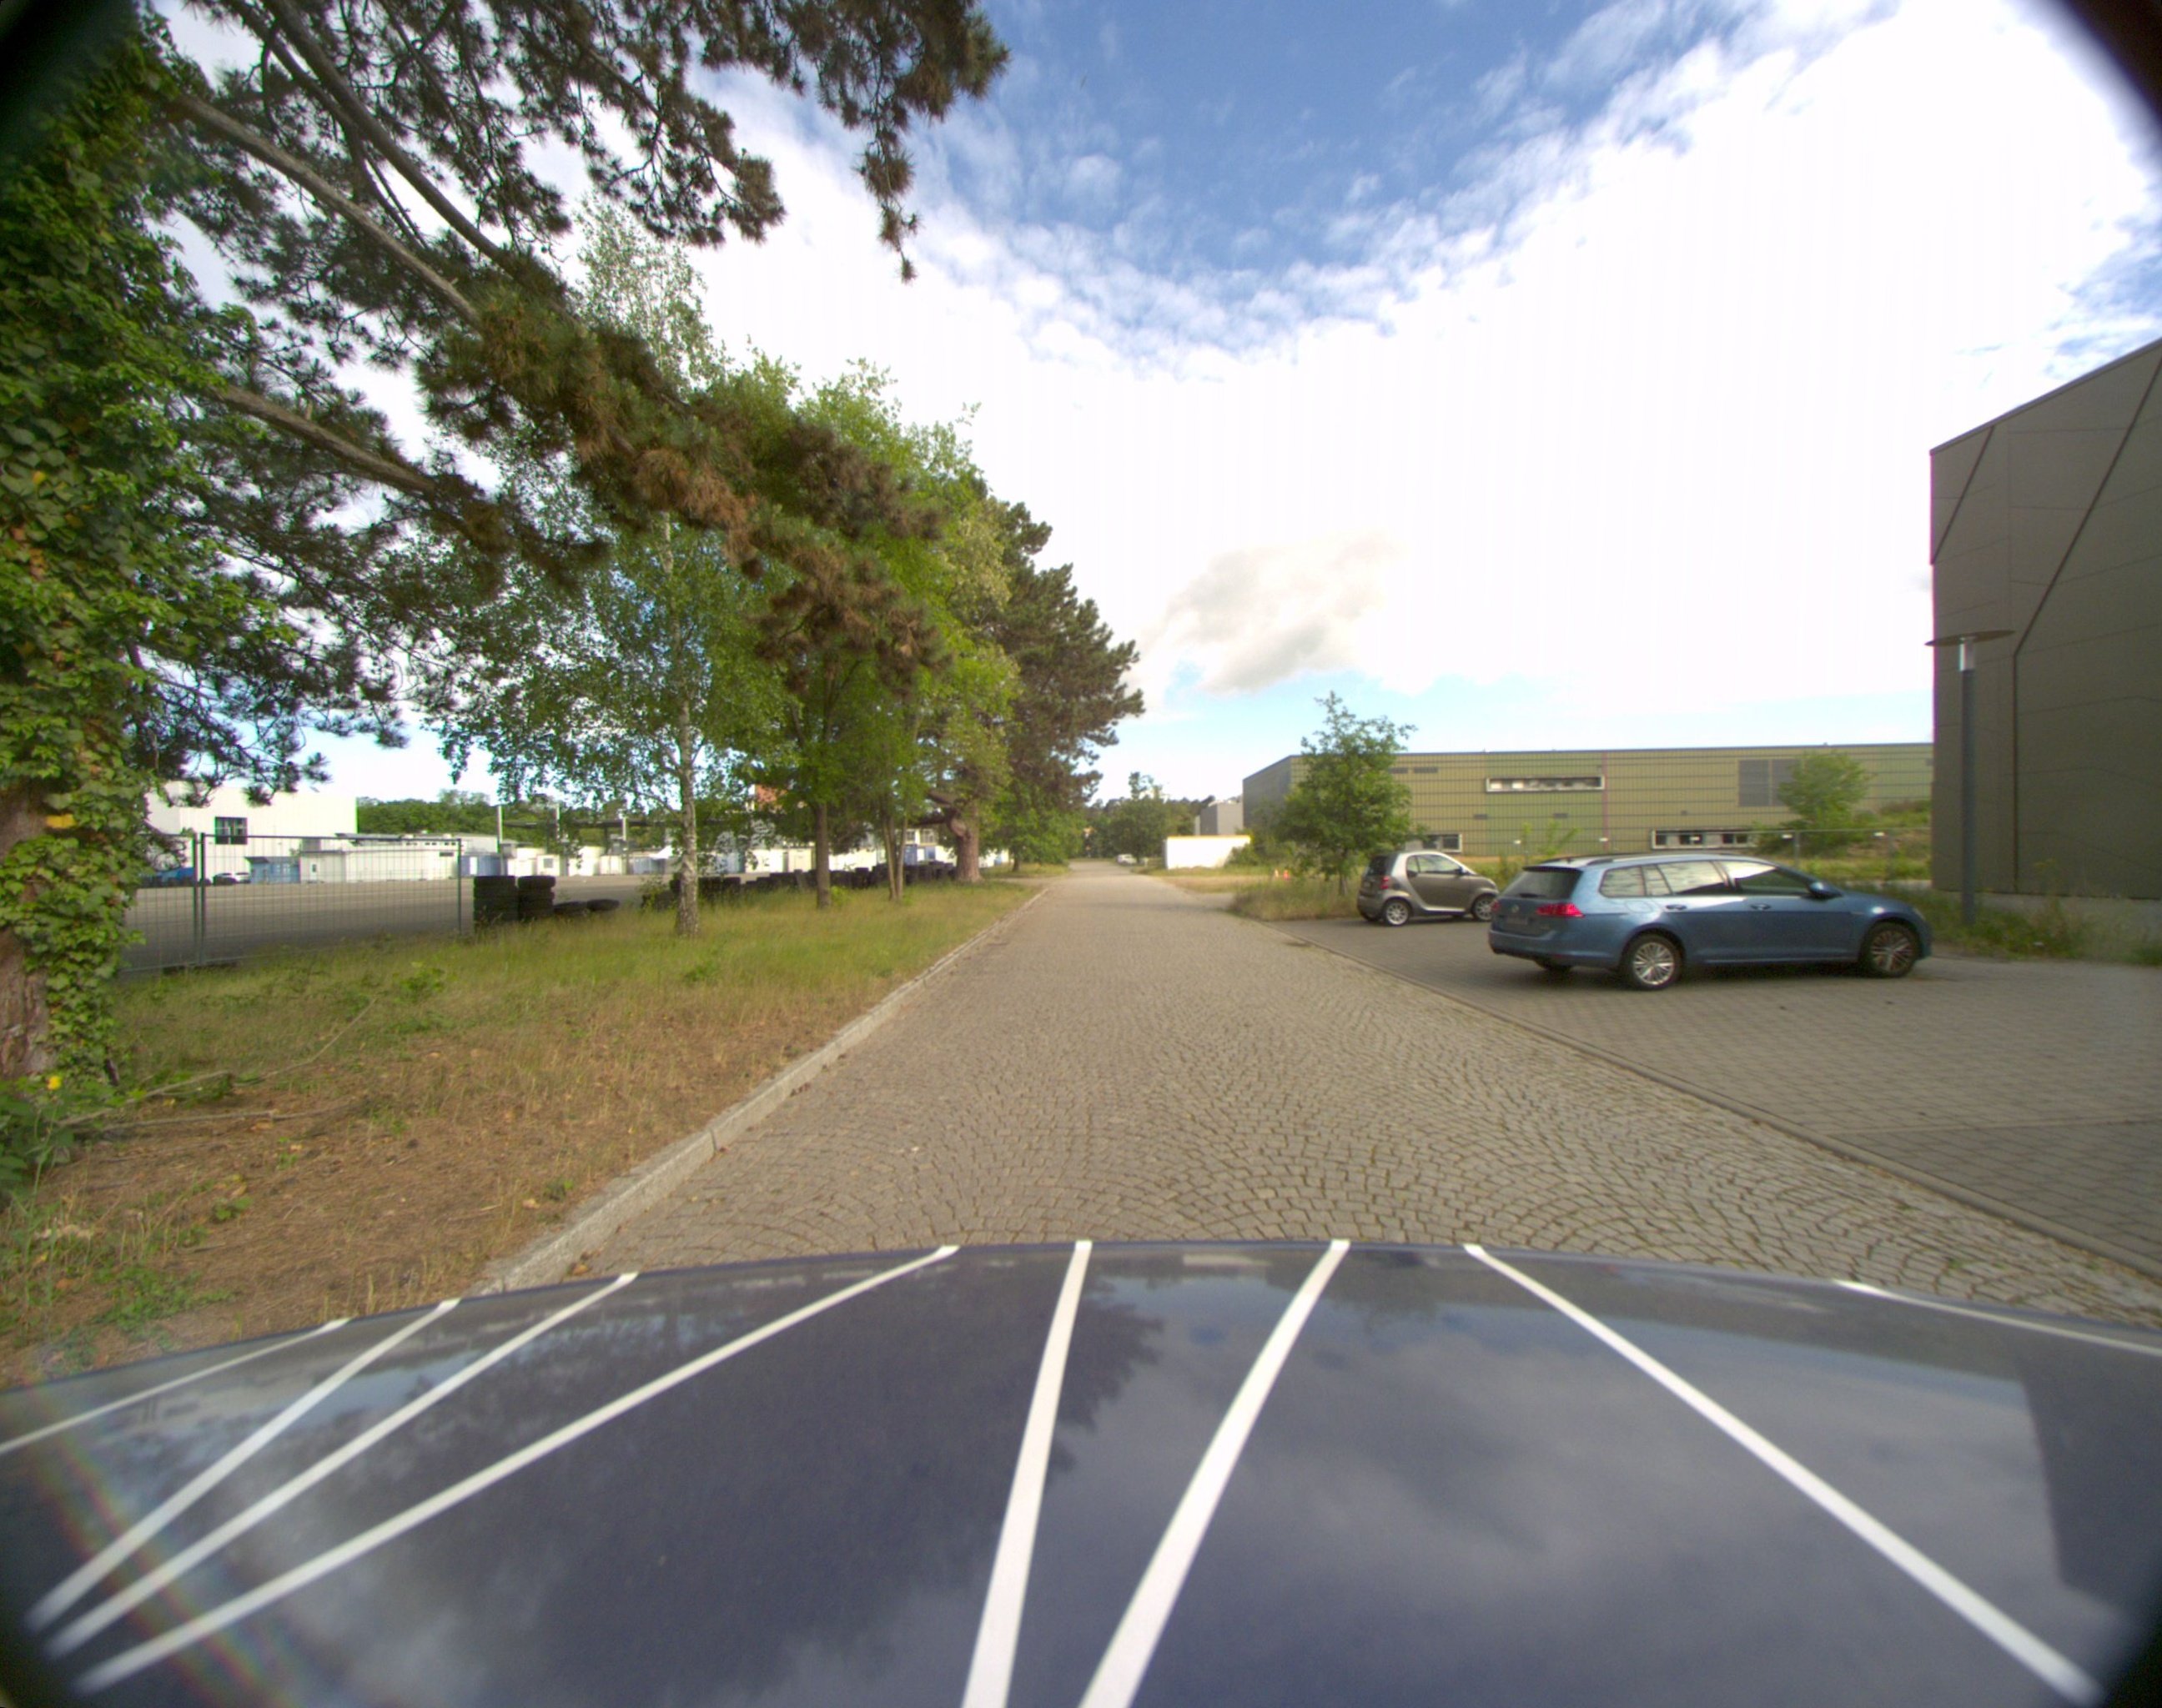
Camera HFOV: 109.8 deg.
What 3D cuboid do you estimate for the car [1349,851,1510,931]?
[{"bbox_3d":[7.389,0.753,16.293,2.661,1.502,1.610,-2,0,0],"label":"car"}]

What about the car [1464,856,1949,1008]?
[{"bbox_3d":[7.138,0.825,8.973,4.317,1.420,1.773,-2,0,-2],"label":"car"}]

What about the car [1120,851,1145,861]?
[{"bbox_3d":[8.336,0.350,123.515,3.996,1.604,1.797,-1,0,4],"label":"car"}]
